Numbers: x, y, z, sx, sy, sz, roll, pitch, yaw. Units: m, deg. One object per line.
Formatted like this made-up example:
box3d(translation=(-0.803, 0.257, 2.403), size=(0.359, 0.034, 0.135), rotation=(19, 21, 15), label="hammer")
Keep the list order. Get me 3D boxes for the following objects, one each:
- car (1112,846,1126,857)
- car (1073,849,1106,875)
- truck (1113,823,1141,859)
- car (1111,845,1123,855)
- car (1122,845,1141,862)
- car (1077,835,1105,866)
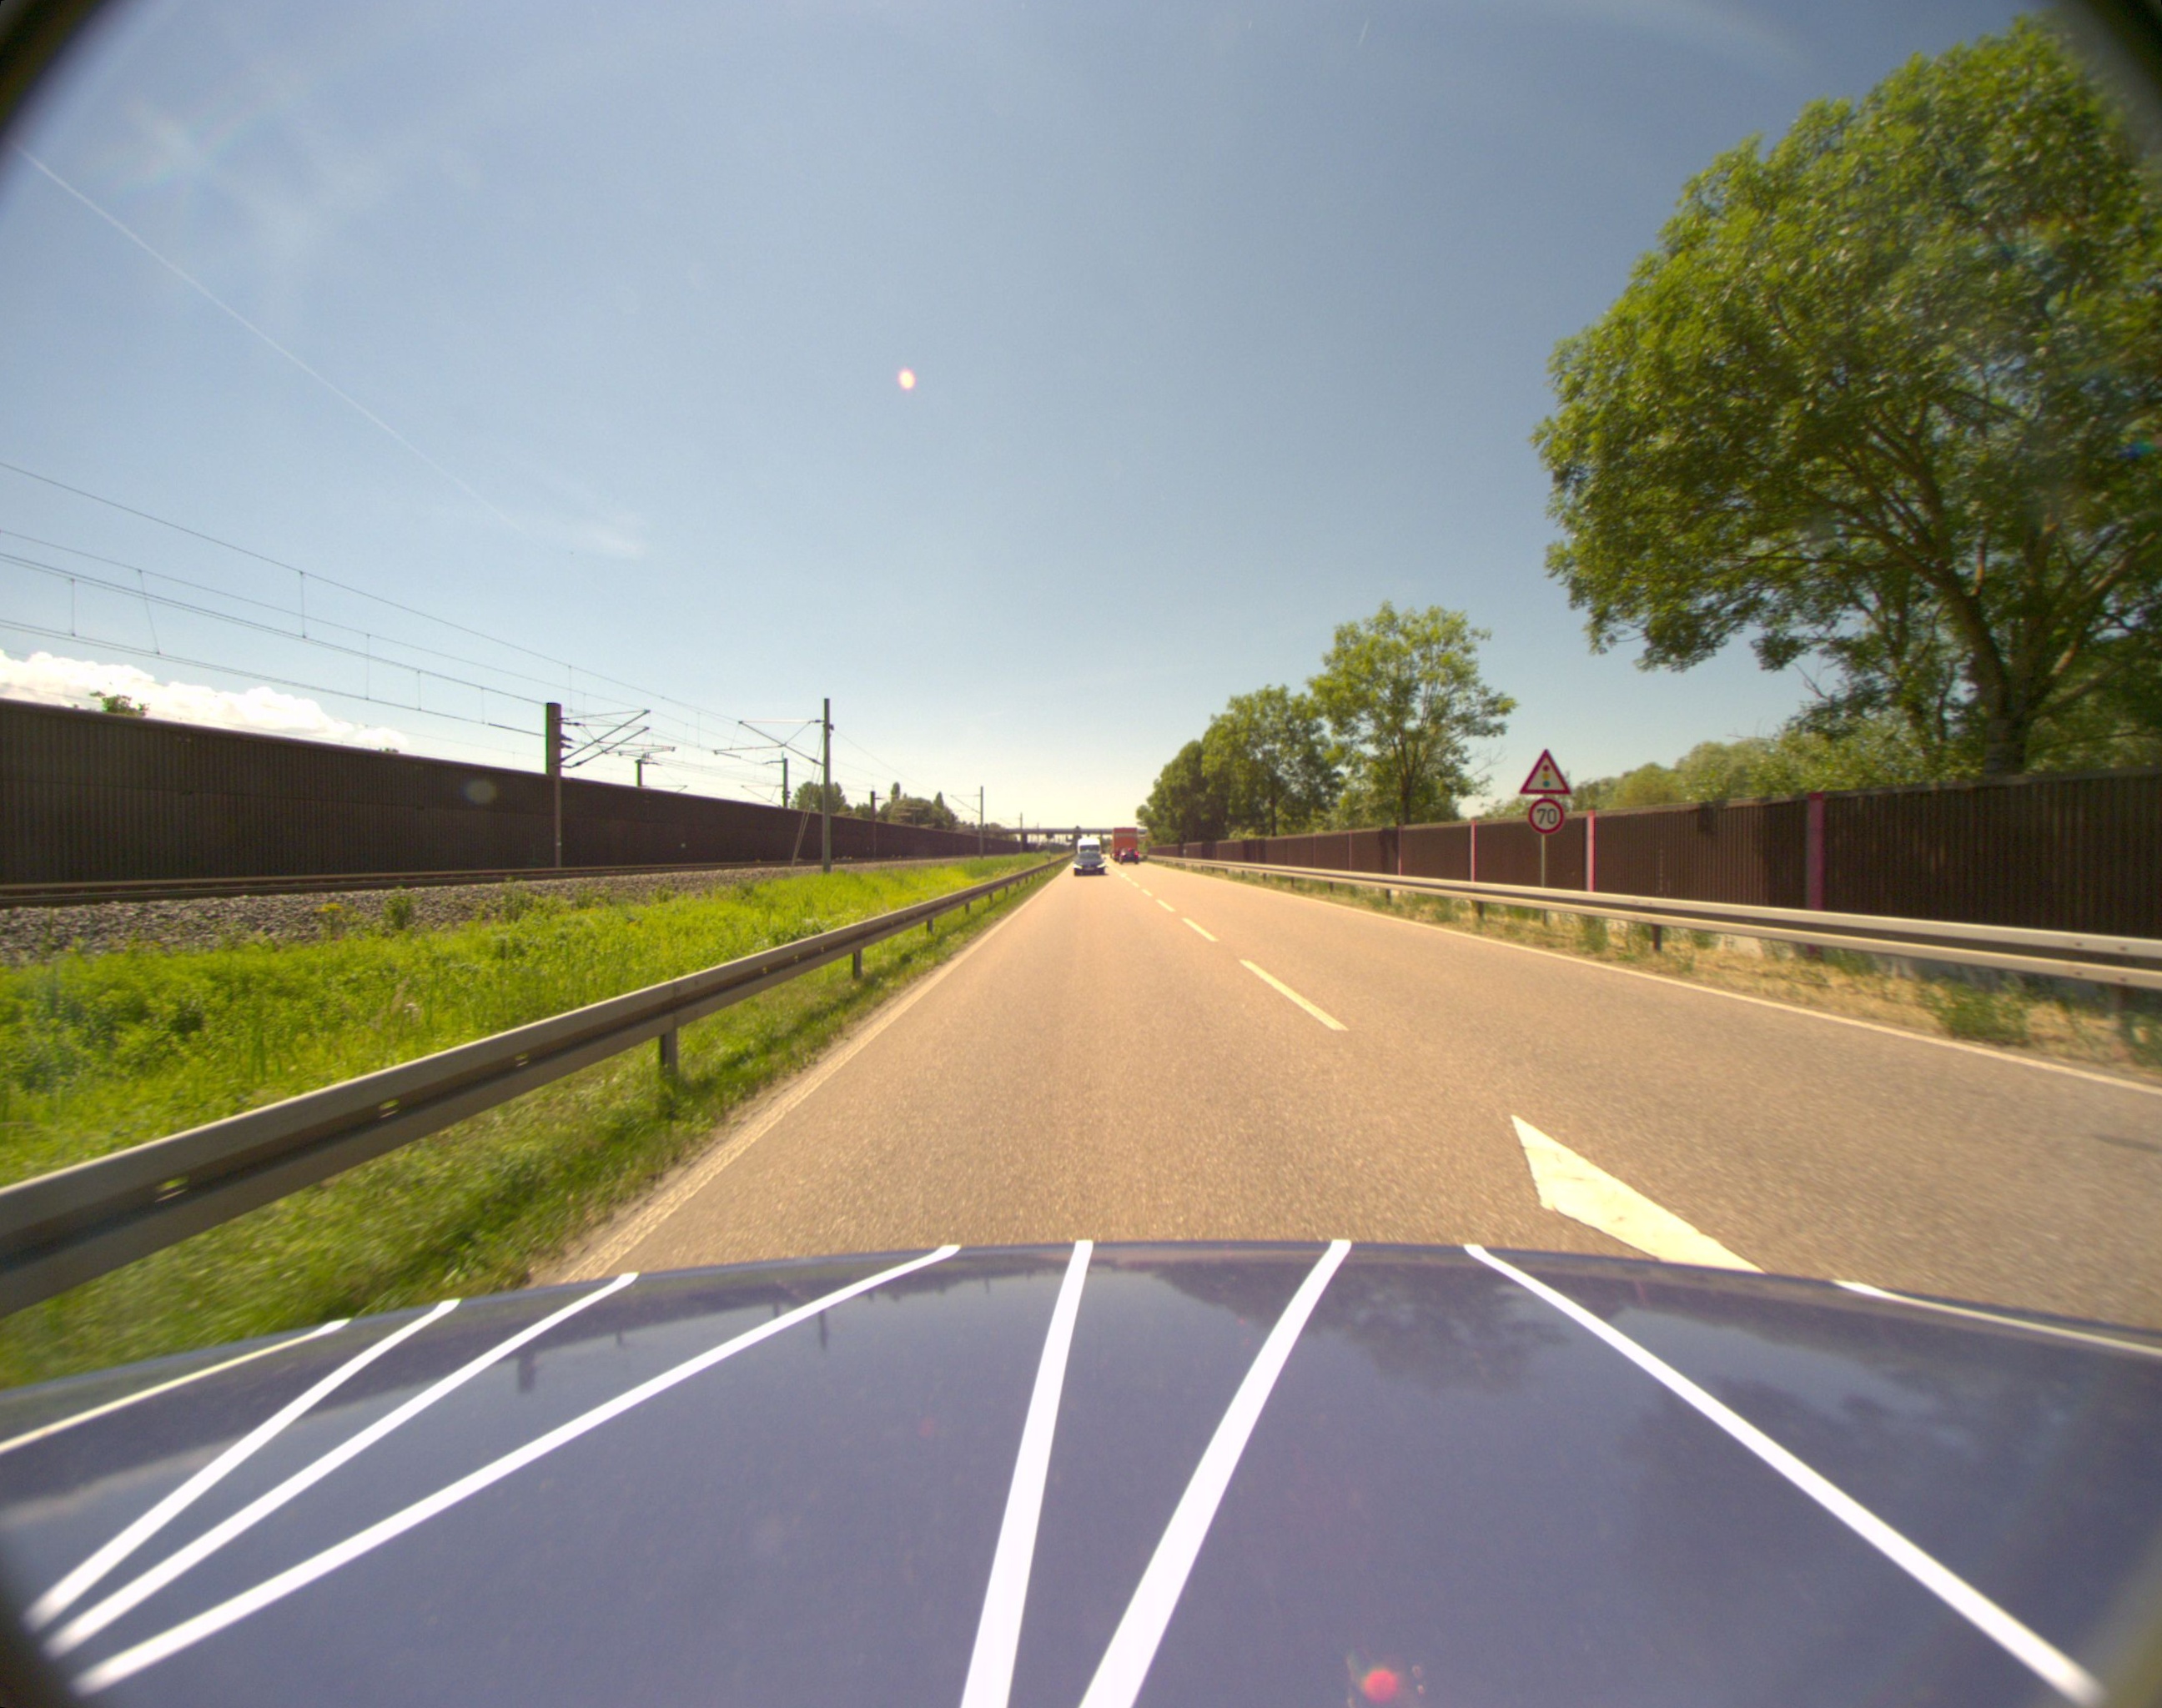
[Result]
box3d(translation=(5.252, -0.388, 105.166), size=(1.689, 1.451, 4.616), rotation=(-2, 1, 2), label="car")
box3d(translation=(0.564, 0.438, 45.860), size=(1.847, 1.415, 4.562), rotation=(-3, 1, 2), label="car")
box3d(translation=(5.270, -1.525, 88.958), size=(2.799, 3.818, 9.323), rotation=(-2, 1, 2), label="truck")
box3d(translation=(6.086, -0.666, 128.264), size=(1.720, 1.580, 4.535), rotation=(-1, 0, 4), label="car")
box3d(translation=(4.927, -0.085, 73.787), size=(1.626, 1.568, 3.763), rotation=(-1, 0, 1), label="car")
box3d(translation=(0.932, -0.290, 66.068), size=(2.227, 2.480, 5.983), rotation=(-1, 0, 2), label="car")
